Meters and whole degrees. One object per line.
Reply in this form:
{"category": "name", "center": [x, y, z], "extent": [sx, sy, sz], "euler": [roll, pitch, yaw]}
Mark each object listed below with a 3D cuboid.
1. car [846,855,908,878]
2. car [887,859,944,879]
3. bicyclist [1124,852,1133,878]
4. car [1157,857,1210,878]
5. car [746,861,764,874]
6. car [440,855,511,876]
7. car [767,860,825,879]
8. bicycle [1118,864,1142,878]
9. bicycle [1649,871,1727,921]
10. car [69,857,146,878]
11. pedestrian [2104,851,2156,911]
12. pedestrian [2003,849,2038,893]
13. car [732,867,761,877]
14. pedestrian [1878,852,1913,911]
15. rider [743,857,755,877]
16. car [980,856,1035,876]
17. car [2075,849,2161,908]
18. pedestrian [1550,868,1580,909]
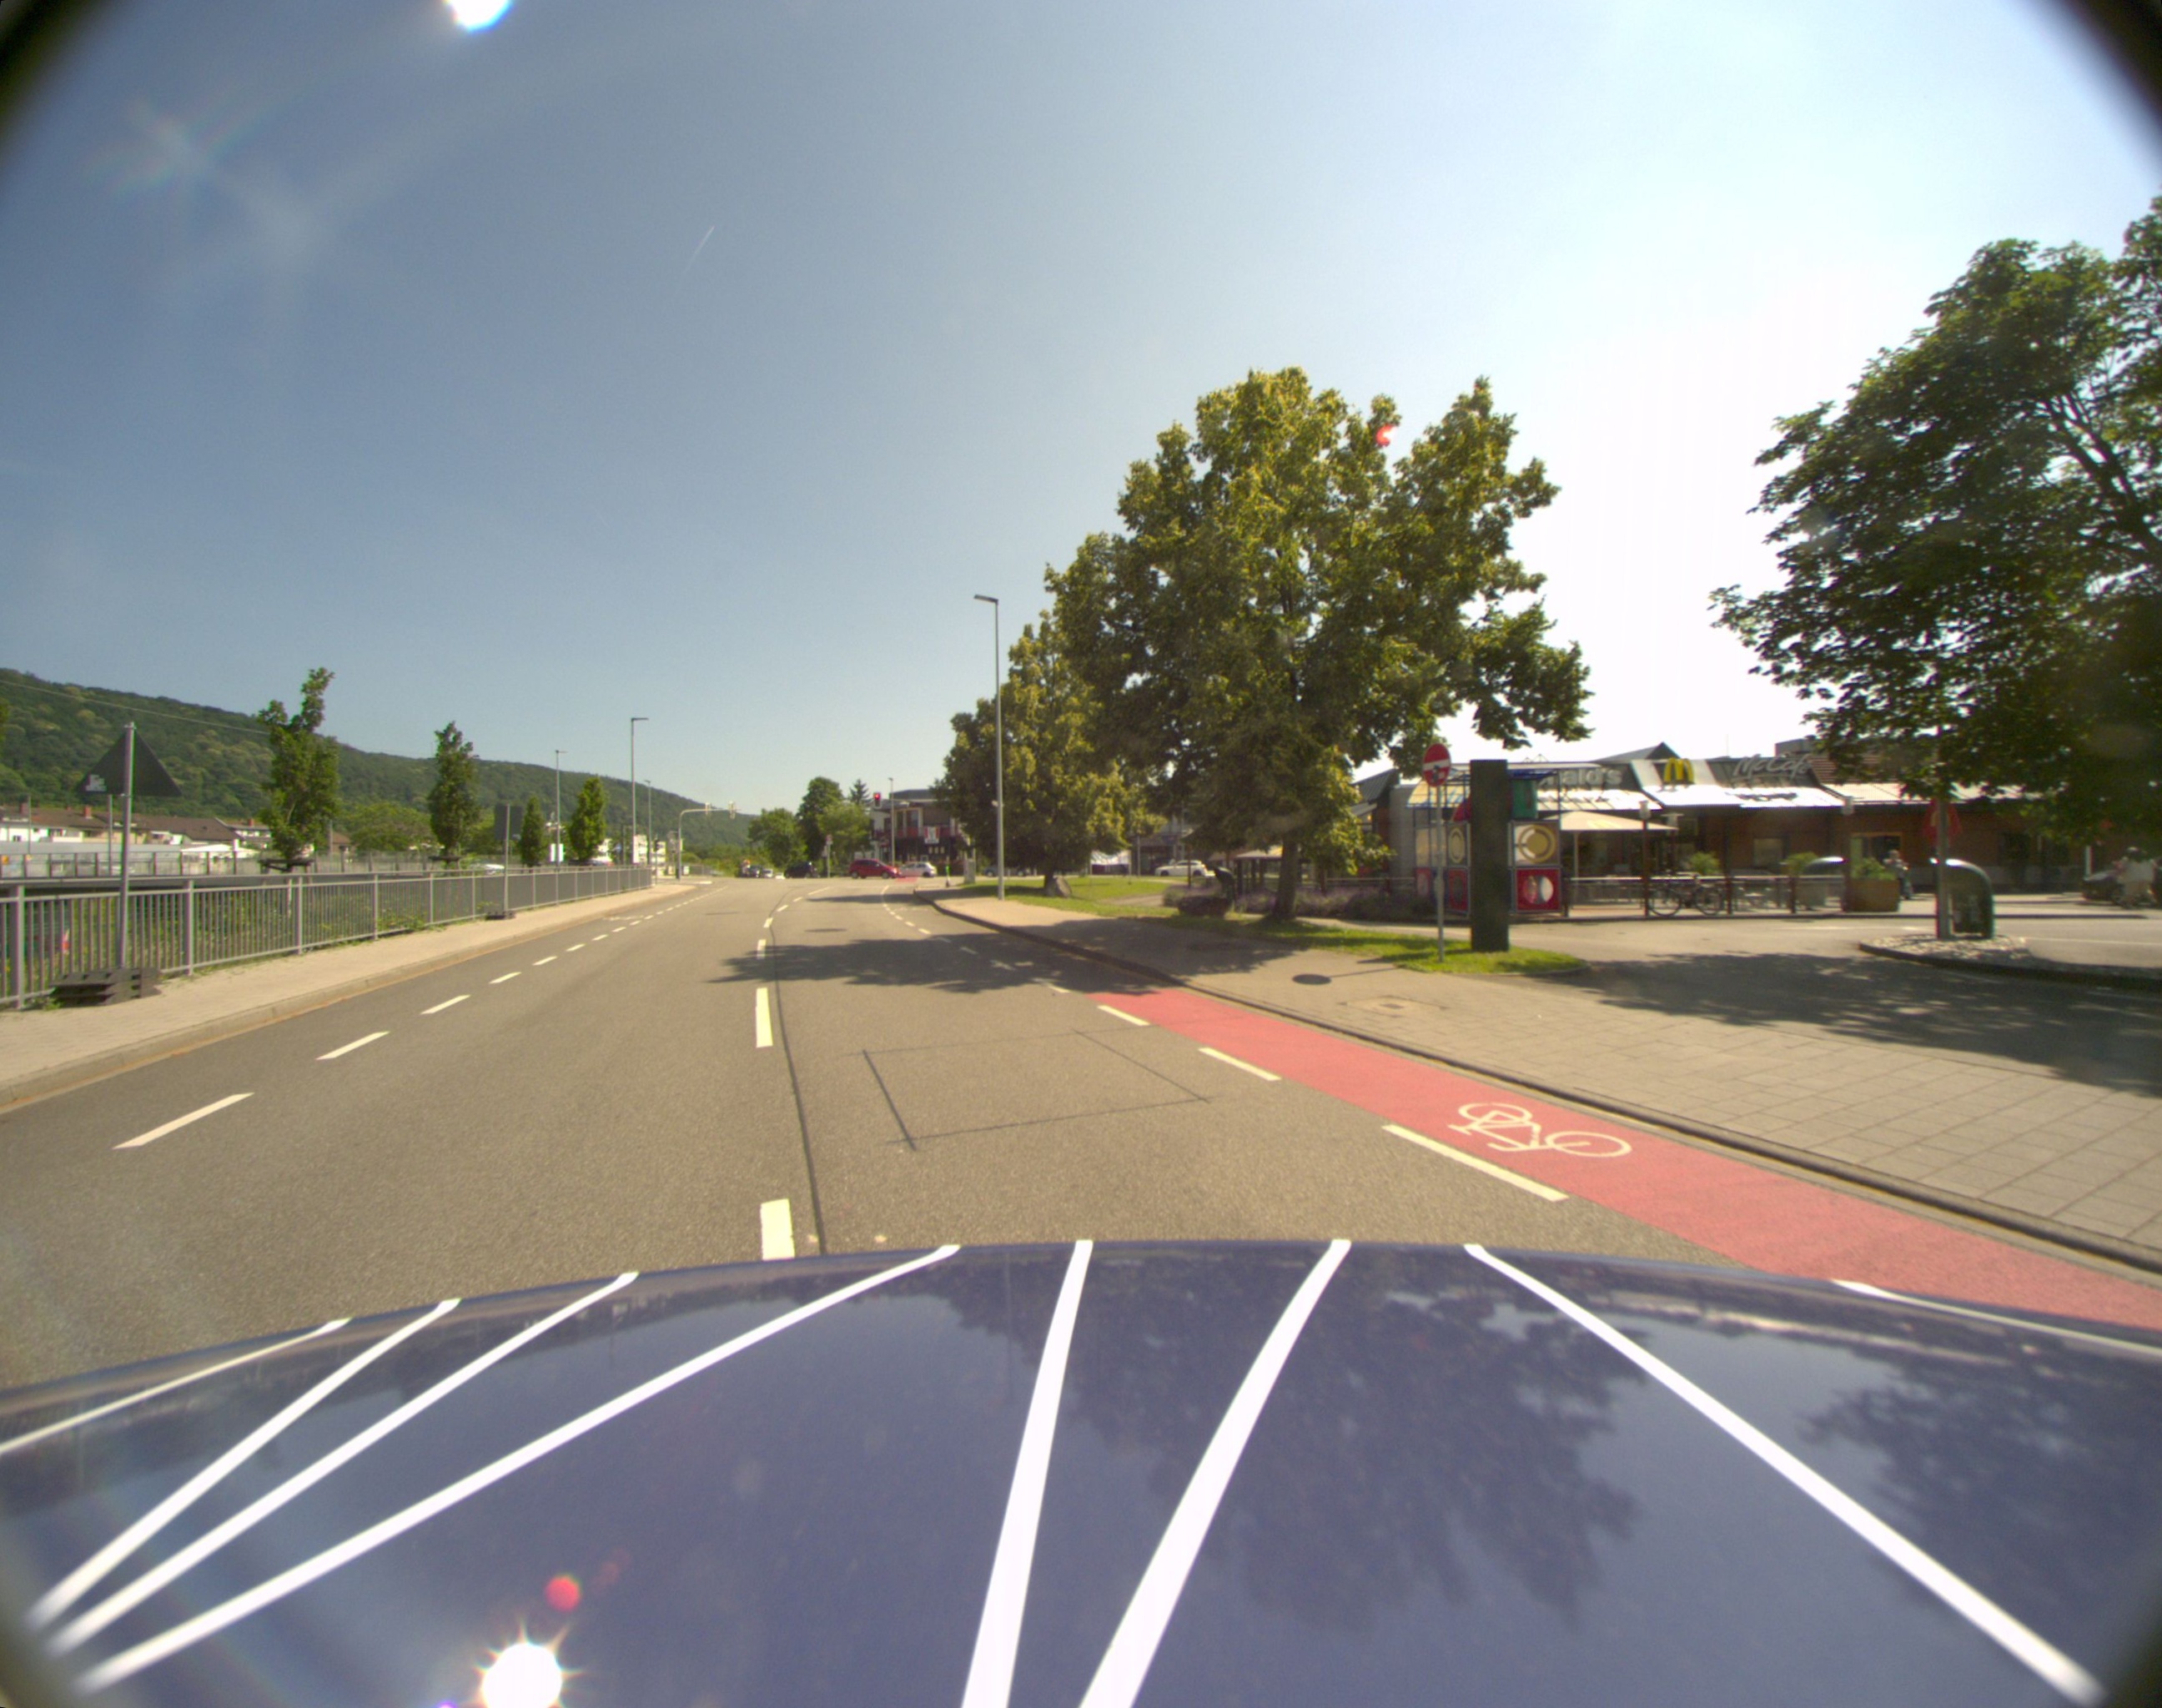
{"category": "car", "center": [-16.127, 0.952, 60.295], "extent": [4.366, 1.670, 1.831], "euler": [-1, 3, 2]}
{"category": "car", "center": [-14.258, 1.266, 65.605], "extent": [4.366, 1.618, 1.831], "euler": [0, 3, 4]}
{"category": "bicyclist", "center": [3.443, 0.797, 55.421], "extent": [0.656, 1.886, 0.552], "euler": [0, 3, 5]}
{"category": "car", "center": [8.667, 1.116, 64.368], "extent": [4.366, 1.618, 1.831], "euler": [0, 3, 4]}
{"category": "car", "center": [-33.845, 1.400, 78.907], "extent": [1.613, 1.248, 3.675], "euler": [0, 0, -25]}
{"category": "car", "center": [-50.943, 0.977, 63.979], "extent": [4.761, 1.643, 1.832], "euler": [0, 3, 7]}
{"category": "car", "center": [-24.684, 1.345, 65.893], "extent": [4.366, 1.483, 1.831], "euler": [0, 3, 4]}
{"category": "bicycle", "center": [3.571, 1.236, 55.431], "extent": [1.724, 1.037, 0.582], "euler": [0, 3, 4]}
{"category": "bicycle", "center": [15.220, 1.046, 19.064], "extent": [1.610, 1.180, 0.310], "euler": [-2, 3, 7]}
{"category": "car", "center": [-83.104, 1.113, 64.881], "extent": [4.575, 1.643, 1.832], "euler": [0, 3, 7]}
{"category": "pedestrian", "center": [29.340, 0.747, 21.255], "extent": [0.790, 1.628, 0.831], "euler": [-1, 1, -36]}
{"category": "pedestrian", "center": [35.329, 0.632, 28.576], "extent": [0.622, 1.642, 0.542], "euler": [0, 1, 4]}
{"category": "car", "center": [-30.516, 1.647, 69.364], "extent": [2.380, 0.897, 0.575], "euler": [0, 3, 3]}
{"category": "pedestrian", "center": [22.071, 0.720, 20.591], "extent": [0.572, 1.558, 0.595], "euler": [-2, 1, -37]}
{"category": "rider", "center": [-30.284, 1.180, 69.314], "extent": [0.685, 1.804, 0.548], "euler": [0, 3, 3]}
{"category": "car", "center": [-6.274, 1.023, 65.080], "extent": [4.366, 1.618, 1.831], "euler": [0, 3, 4]}
{"category": "car", "center": [31.237, 0.685, 21.321], "extent": [1.960, 1.647, 3.989], "euler": [0, 0, -35]}
{"category": "pedestrian", "center": [15.522, 1.096, 24.379], "extent": [0.551, 1.203, 0.592], "euler": [-5, 3, 10]}
